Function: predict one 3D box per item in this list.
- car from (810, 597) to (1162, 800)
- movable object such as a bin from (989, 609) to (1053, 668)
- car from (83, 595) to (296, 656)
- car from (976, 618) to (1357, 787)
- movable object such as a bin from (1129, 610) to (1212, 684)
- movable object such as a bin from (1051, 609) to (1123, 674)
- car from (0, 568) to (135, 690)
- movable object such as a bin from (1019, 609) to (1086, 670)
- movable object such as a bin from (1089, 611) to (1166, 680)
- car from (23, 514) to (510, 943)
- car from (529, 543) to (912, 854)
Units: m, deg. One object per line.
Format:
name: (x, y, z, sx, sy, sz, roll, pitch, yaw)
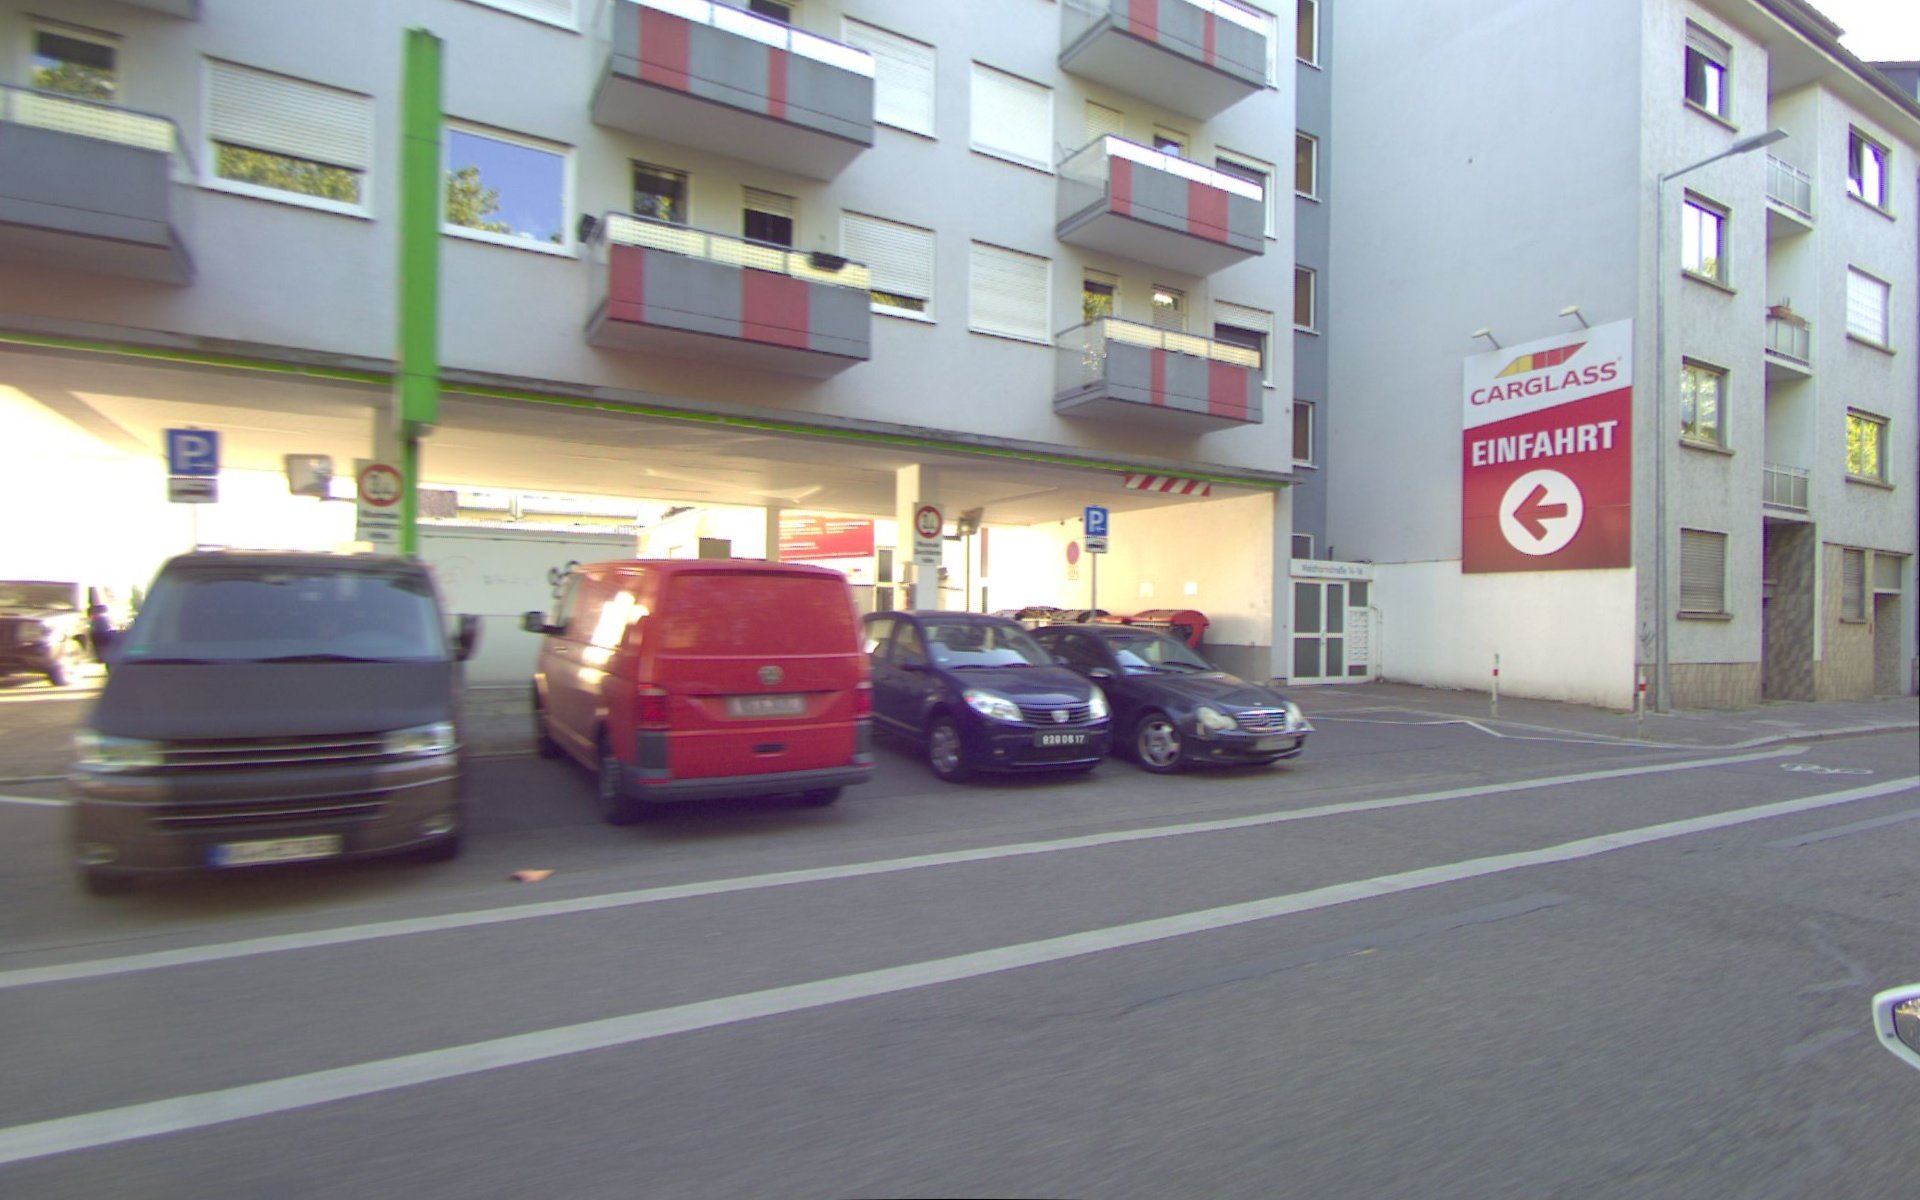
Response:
car: (0.038, 0.846, 10.739, 1.864, 1.584, 4.153, 1, 1, -30)
movable object such as a bin: (1.528, 0.951, 25.211, 1.077, 1.419, 1.272, 1, -1, -30)
car: (-20.057, 0.660, 26.414, 4.204, 1.483, 1.767, 1, 0, -30)
car: (2.138, 1.010, 11.608, 2.022, 1.398, 4.209, 2, 0, -30)
movable object such as a bin: (4.261, 0.934, 20.340, 1.077, 1.419, 1.272, 1, -1, -30)
movable object such as a bin: (2.871, 0.931, 22.733, 1.077, 1.419, 1.272, 1, -1, -30)
car: (-15.271, 0.416, 16.426, 1.976, 1.773, 4.501, 1, 0, -30)
movable object such as a bin: (2.212, 0.931, 24.050, 1.077, 1.419, 1.272, 1, -1, -30)
movable object such as a bin: (3.573, 0.952, 21.482, 1.077, 1.419, 1.272, 1, -1, -30)
car: (-4.529, 0.536, 7.094, 2.032, 1.978, 4.501, 1, 2, -30)
car: (-2.373, 0.572, 8.838, 2.120, 1.978, 4.400, 1, 2, -30)
